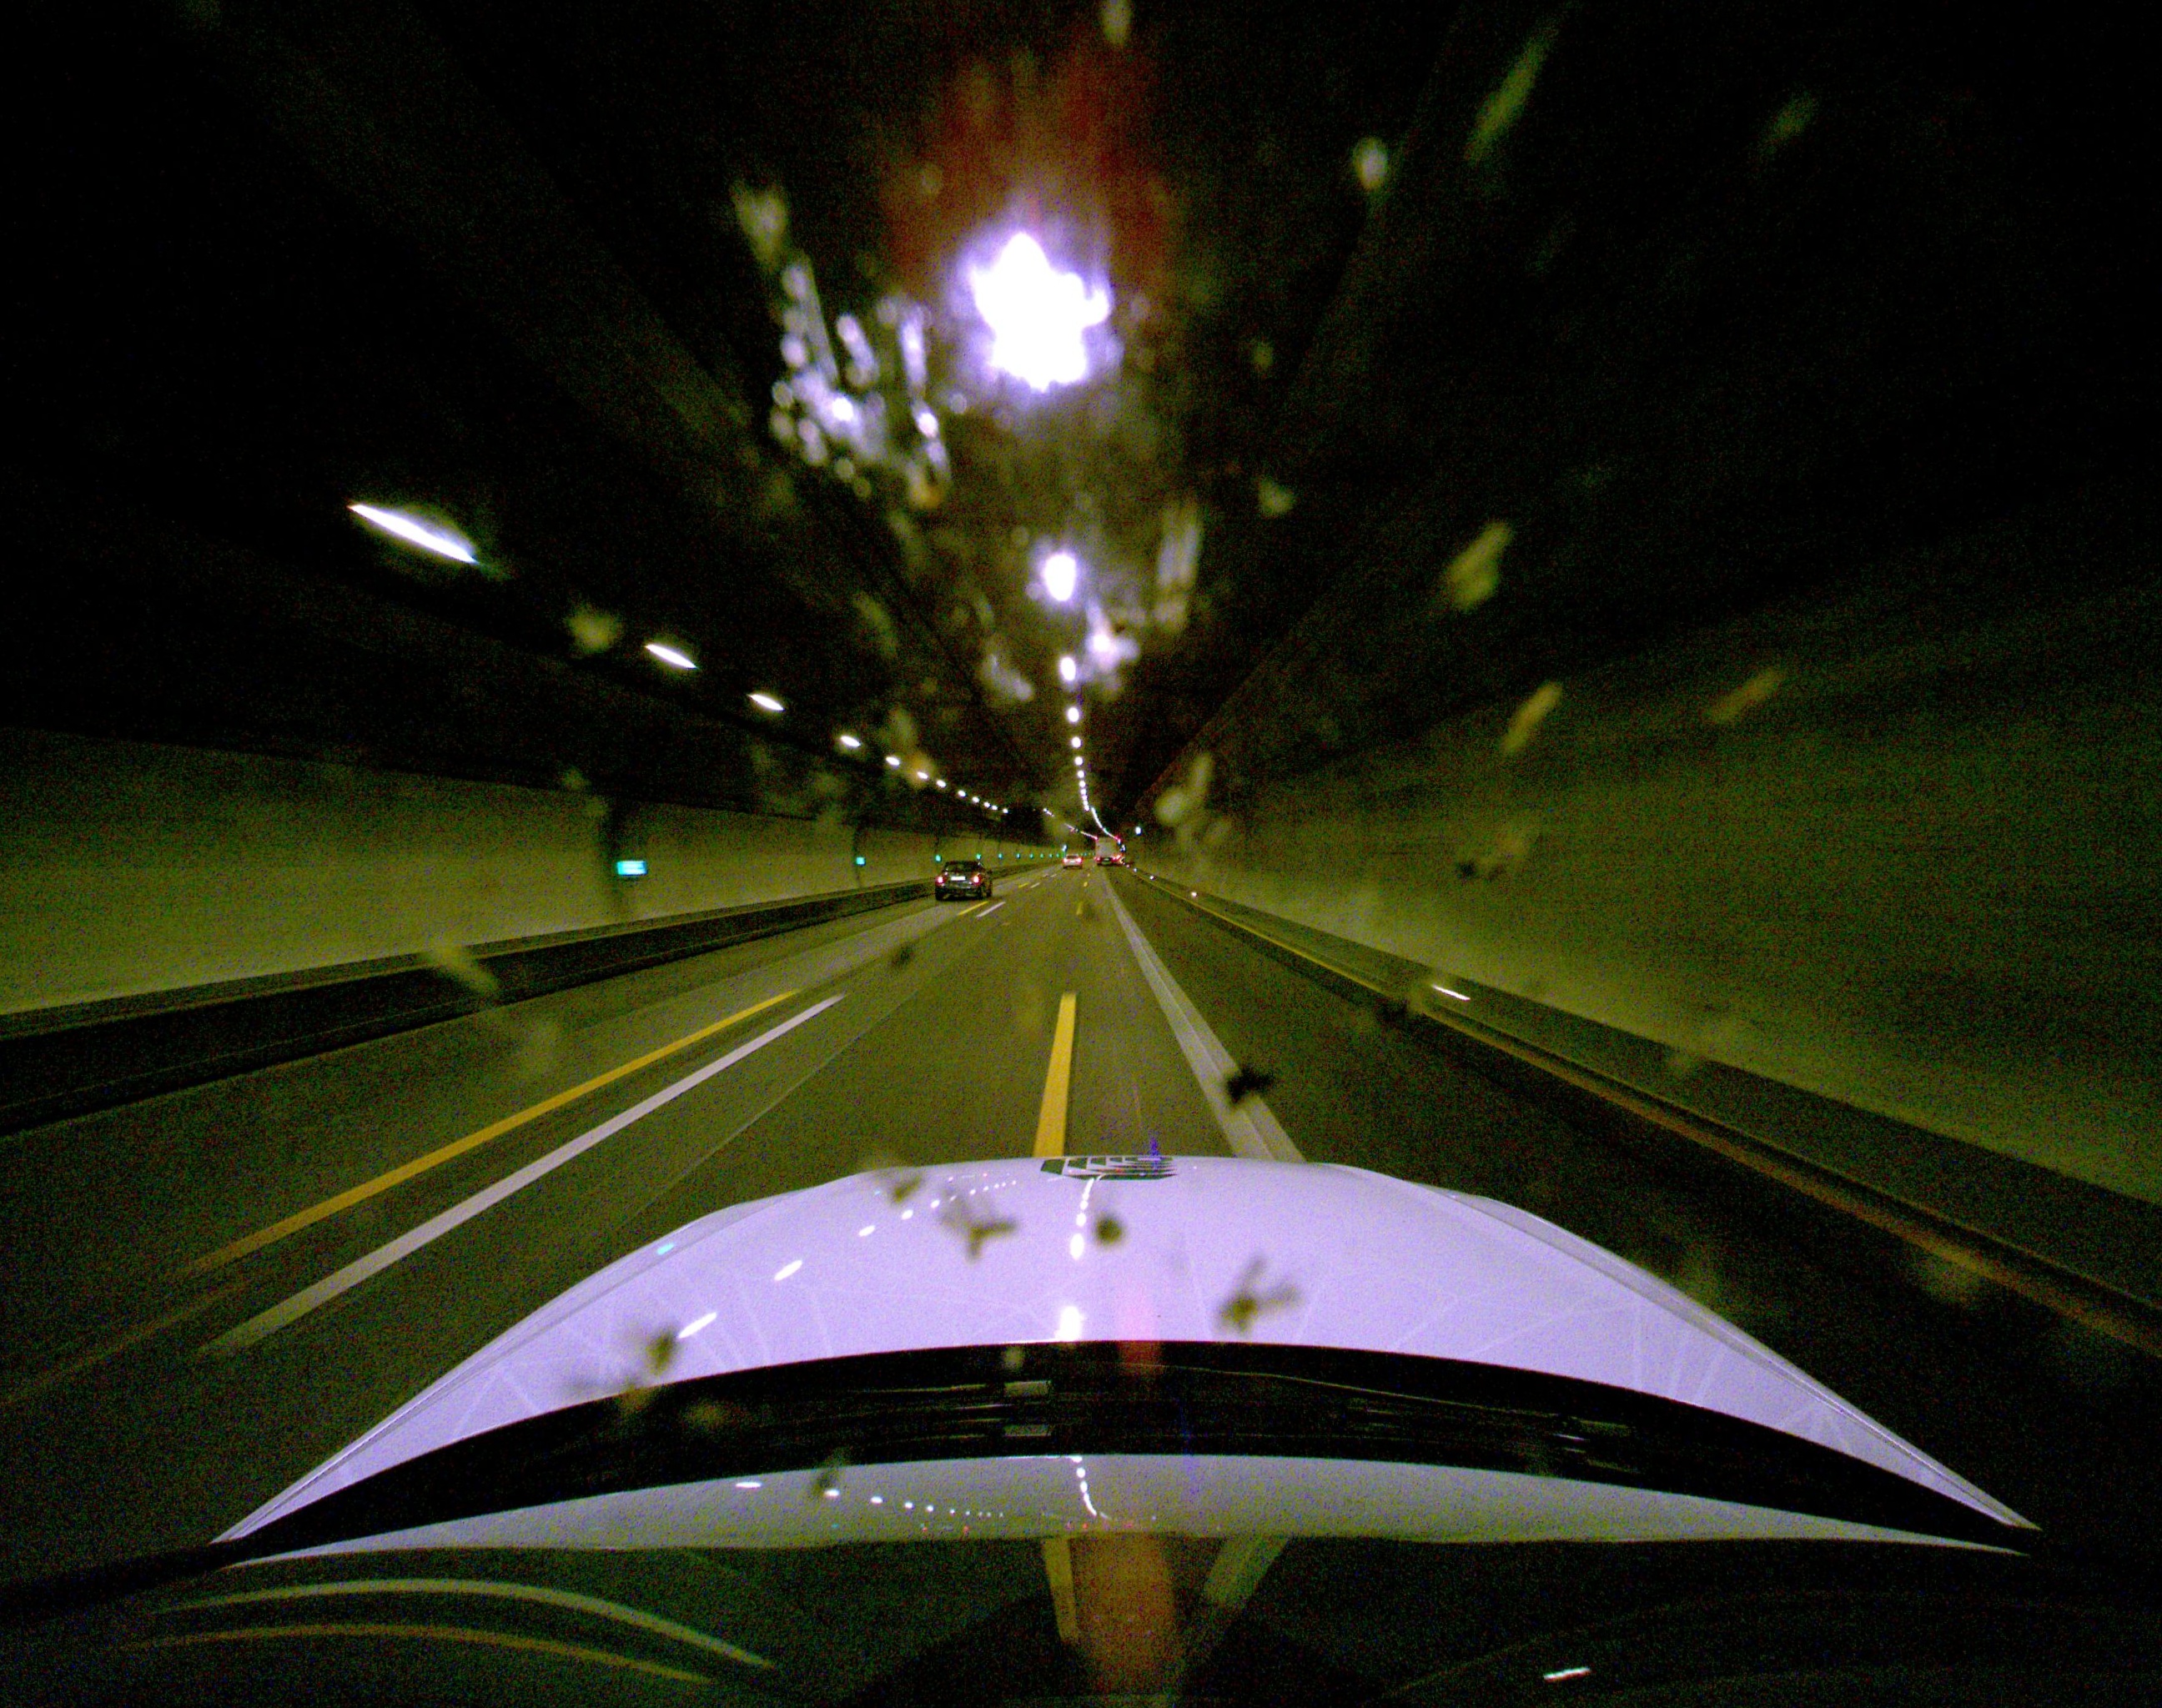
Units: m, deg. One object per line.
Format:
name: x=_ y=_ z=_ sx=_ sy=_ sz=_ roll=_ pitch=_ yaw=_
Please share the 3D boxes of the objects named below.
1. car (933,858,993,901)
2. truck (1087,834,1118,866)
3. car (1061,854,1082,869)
car: x=-4.267 y=0.892 z=29.966 sx=1.684 sy=1.417 sz=3.921 roll=-1 pitch=0 yaw=-1
truck: x=2.701 y=-0.467 z=101.576 sx=3.579 sy=3.650 sz=10.727 roll=-1 pitch=0 yaw=2
car: x=-0.951 y=0.719 z=81.537 sx=1.988 sy=1.413 sz=4.740 roll=-1 pitch=0 yaw=-1
